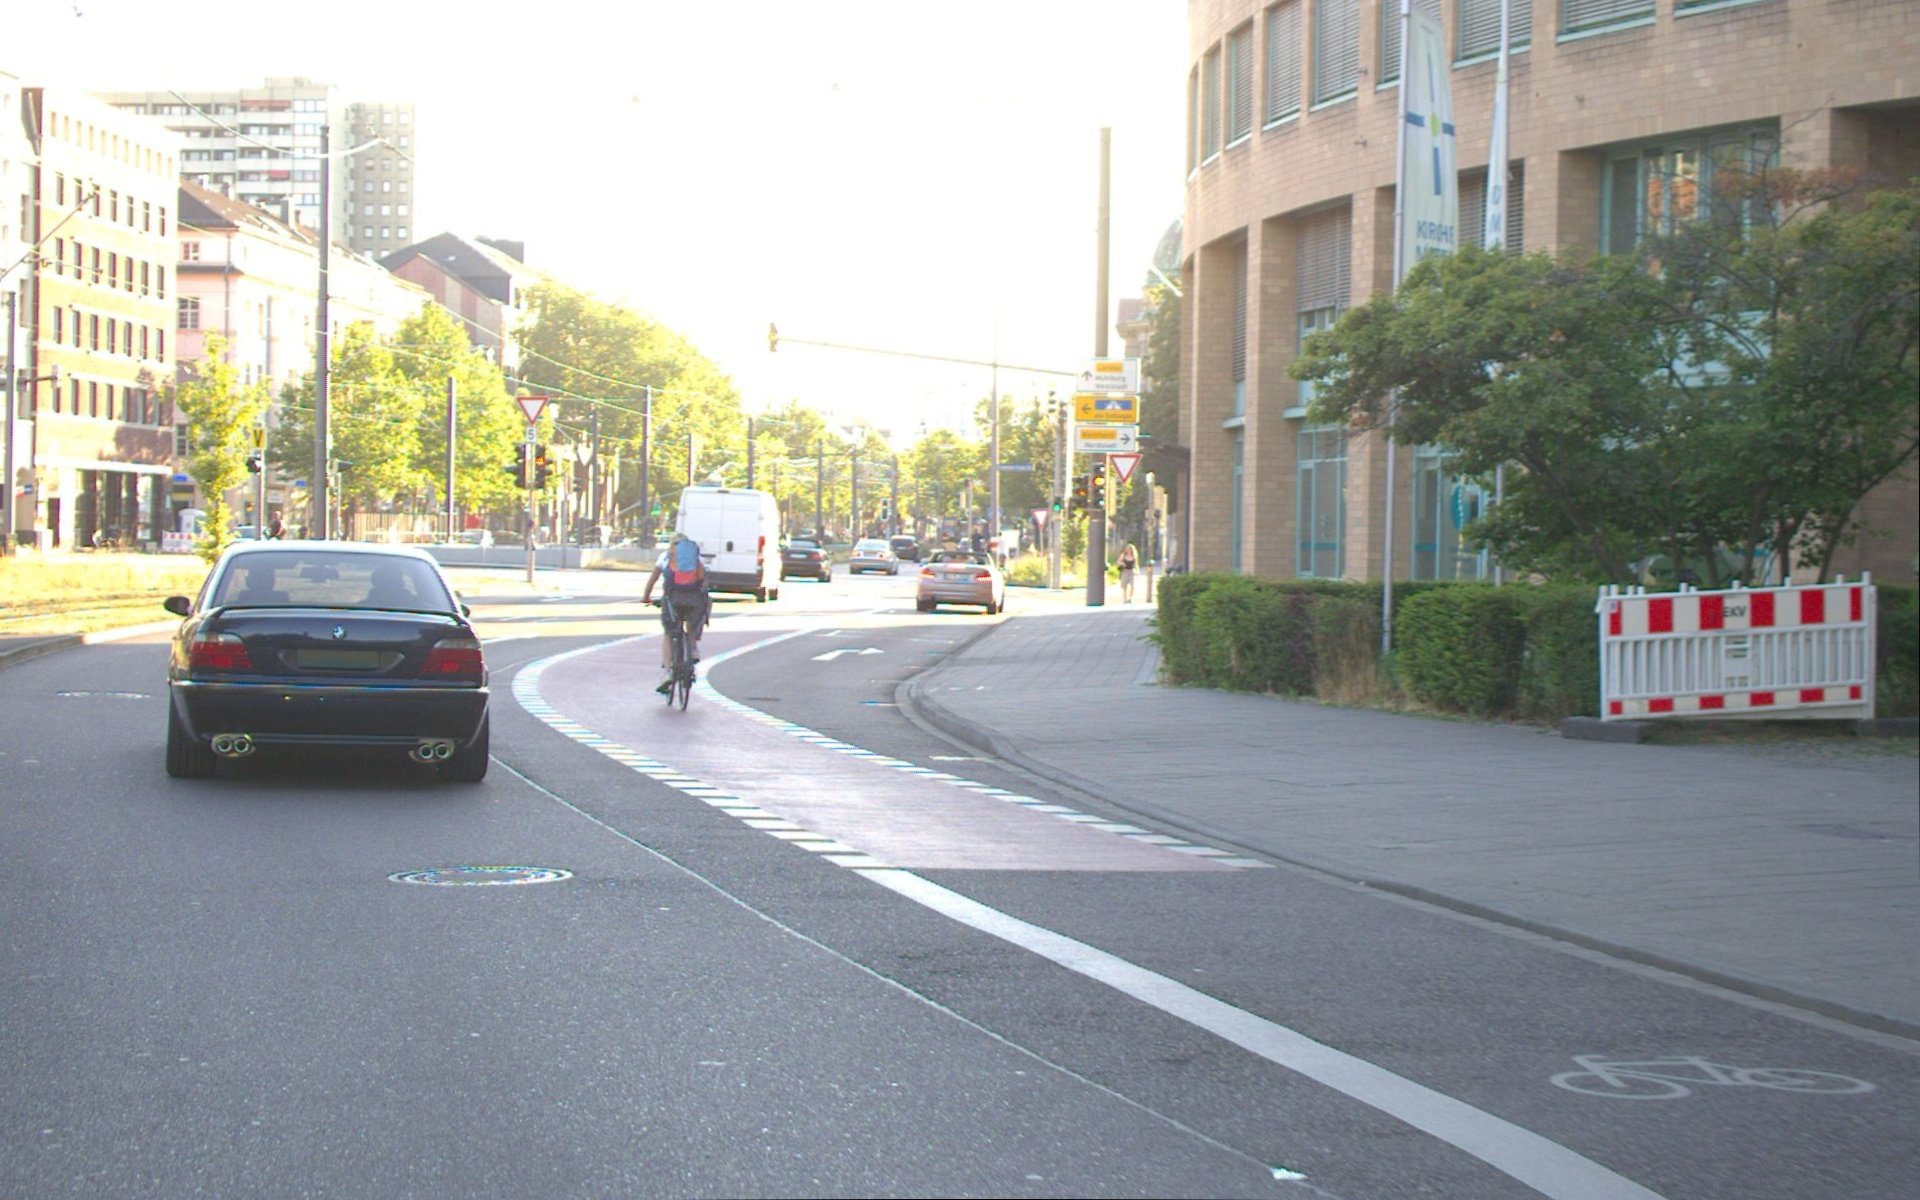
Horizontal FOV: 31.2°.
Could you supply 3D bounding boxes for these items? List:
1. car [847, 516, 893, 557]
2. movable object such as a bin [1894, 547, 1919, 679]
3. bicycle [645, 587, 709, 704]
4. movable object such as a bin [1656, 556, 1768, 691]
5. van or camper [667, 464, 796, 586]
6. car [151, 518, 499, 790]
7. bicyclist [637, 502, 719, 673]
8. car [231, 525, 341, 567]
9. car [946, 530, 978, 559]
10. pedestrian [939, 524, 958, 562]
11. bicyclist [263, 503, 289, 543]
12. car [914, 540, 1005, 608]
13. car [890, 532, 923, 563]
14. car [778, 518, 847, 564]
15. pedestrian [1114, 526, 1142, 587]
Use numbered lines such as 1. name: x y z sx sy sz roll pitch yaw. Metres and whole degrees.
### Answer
1. car: -3.649 -2.590 140.128 1.794 1.560 4.001 1 2 -1
2. movable object such as a bin: 11.105 0.147 37.830 1.340 1.419 0.924 1 2 -4
3. bicycle: -2.550 0.394 31.023 0.515 0.951 1.776 3 2 -5
4. movable object such as a bin: 8.439 0.251 38.552 0.972 1.432 1.343 2 2 22
5. van or camper: -5.091 -1.716 77.111 2.263 2.616 4.502 1 2 4
6. car: -3.815 0.249 21.231 1.829 1.349 4.643 3 2 -8
7. bicyclist: -2.536 -0.121 30.967 0.655 1.478 1.038 3 1 -4
8. car: -25.907 -2.071 132.189 3.985 1.429 1.719 2 3 -15
9. car: 0.086 -3.245 199.010 1.794 1.560 4.001 1 2 -1
10. pedestrian: -0.451 -2.216 133.670 0.616 1.470 0.800 1 2 8
11. bicyclist: -25.928 -2.914 130.366 0.853 1.437 0.663 2 2 -15
12. car: 0.018 -0.605 76.557 1.783 1.349 4.267 2 2 2
13. car: -2.923 -2.894 189.241 1.794 1.560 4.001 1 2 -1
14. car: -4.693 -1.902 109.906 1.737 1.381 4.000 1 2 4
15. pedestrian: 4.382 -1.147 89.638 0.677 1.564 0.800 1 2 1
